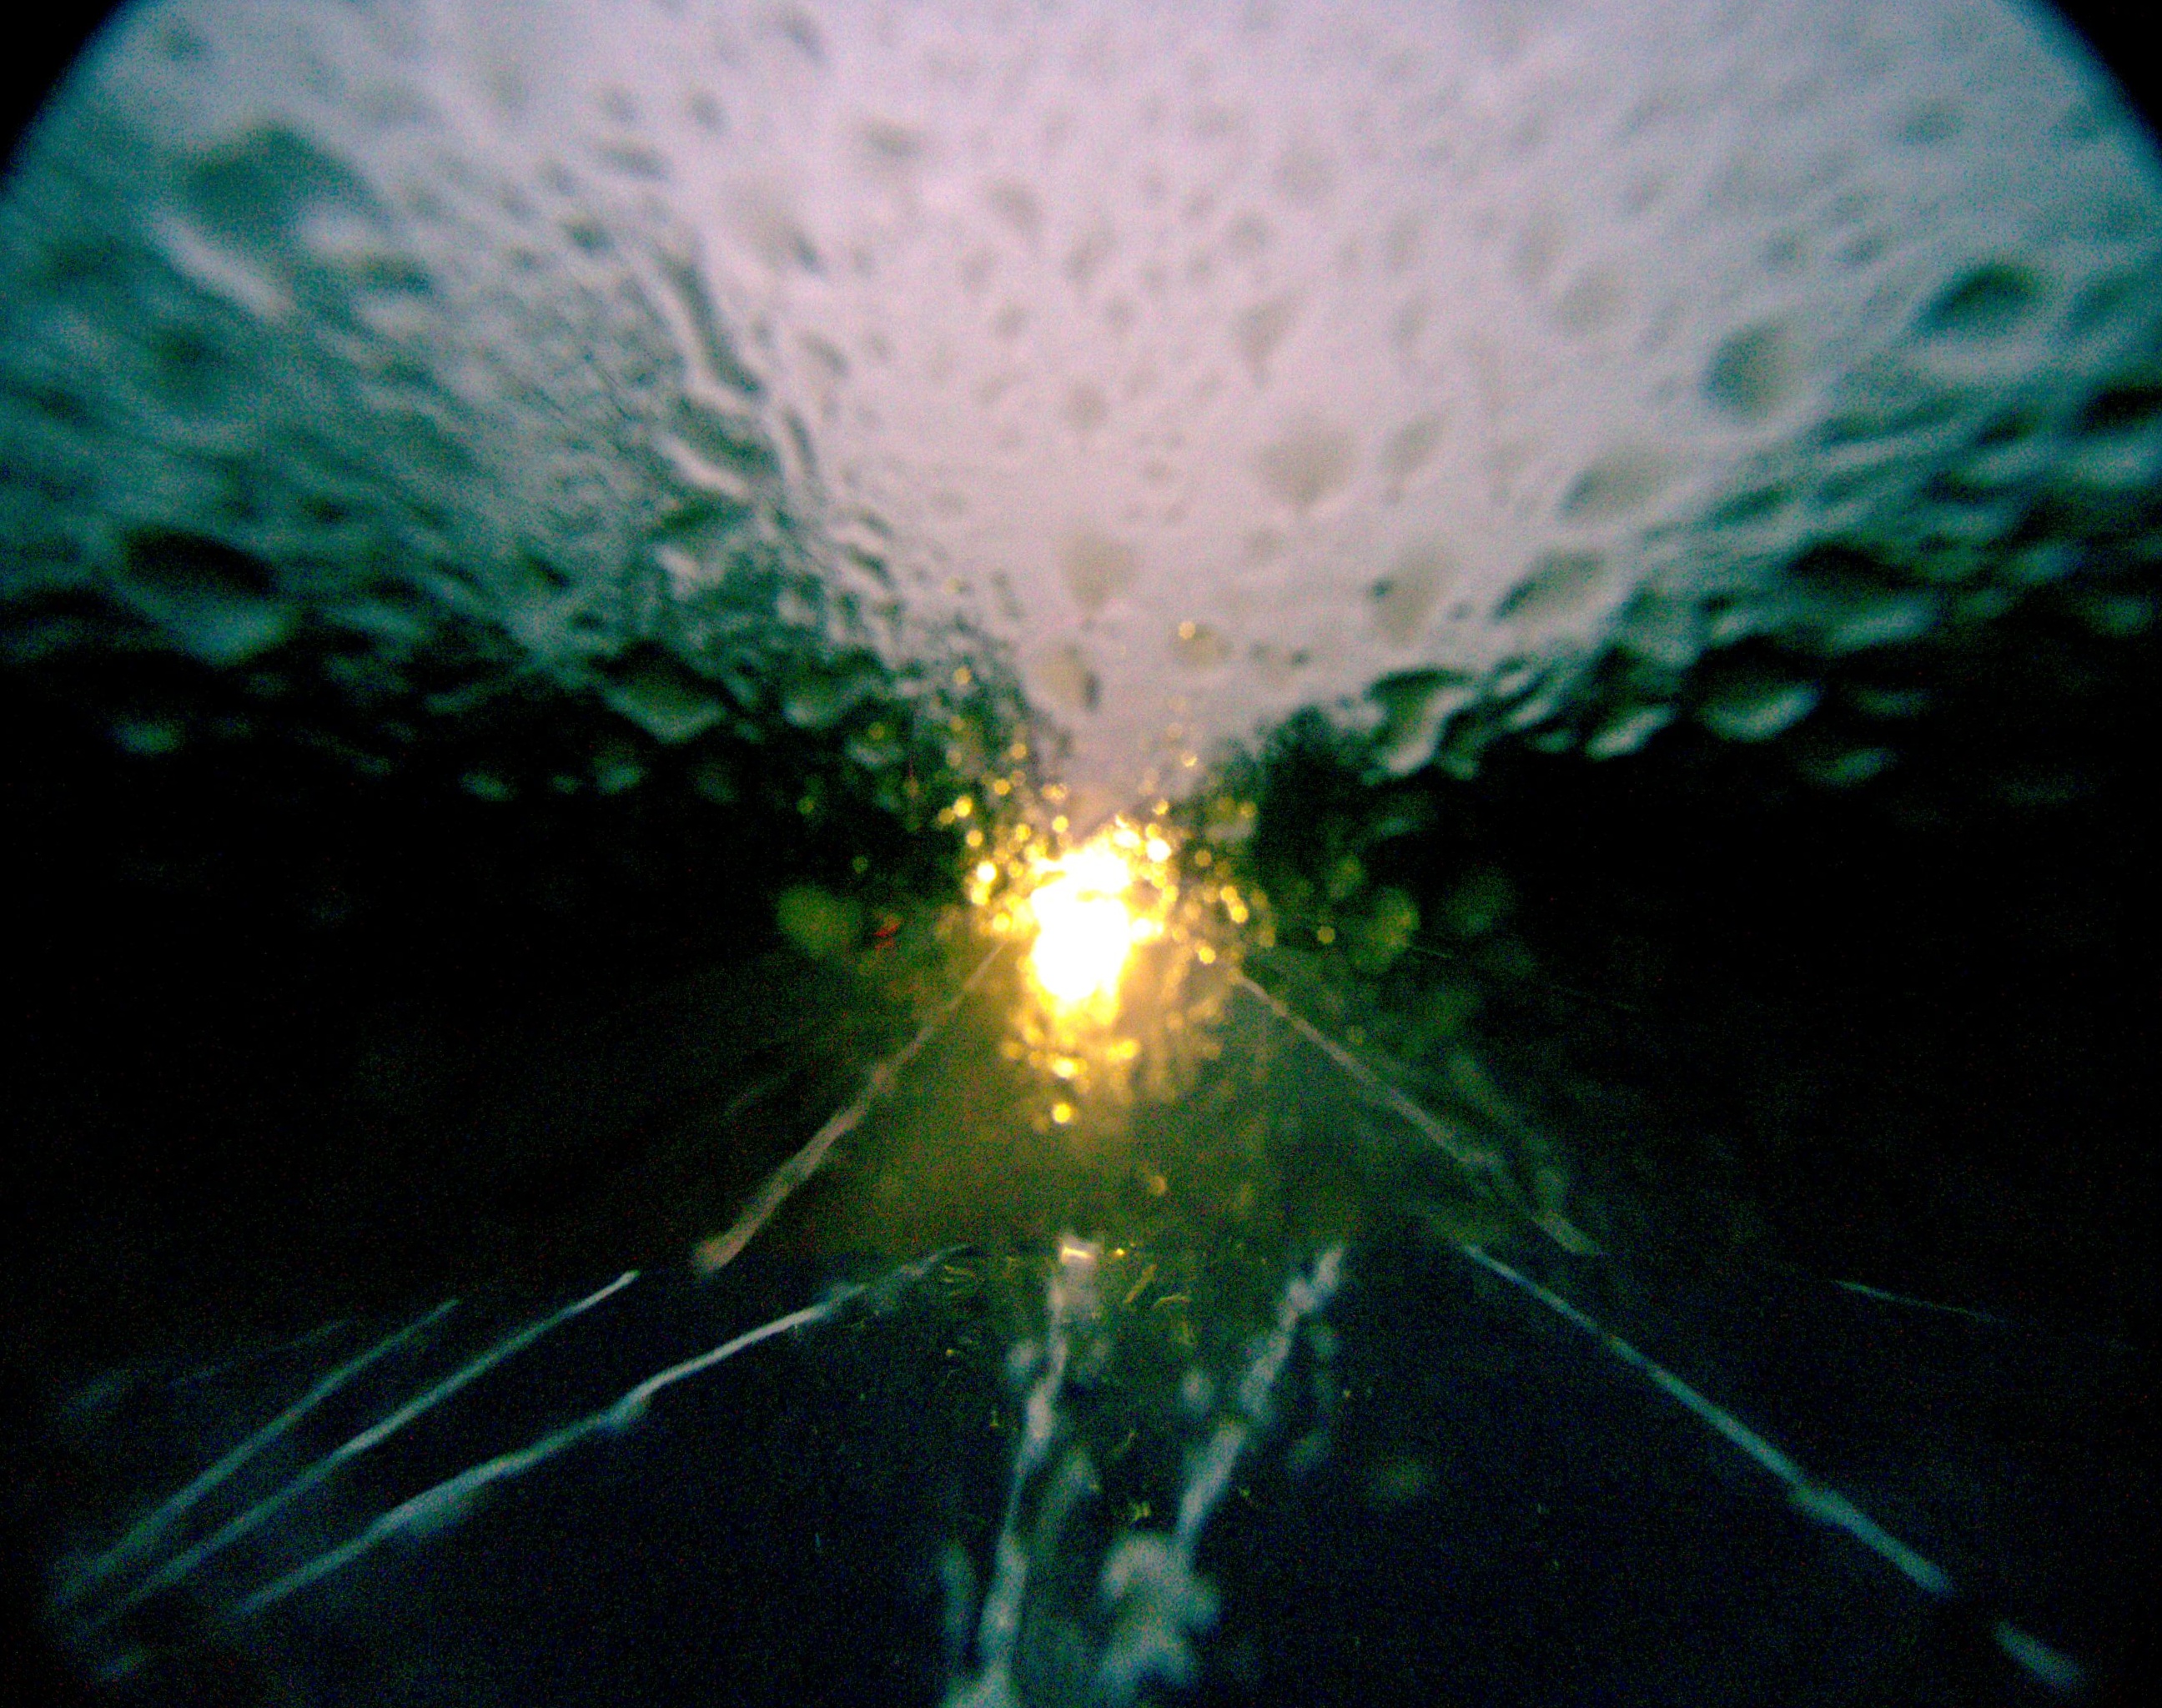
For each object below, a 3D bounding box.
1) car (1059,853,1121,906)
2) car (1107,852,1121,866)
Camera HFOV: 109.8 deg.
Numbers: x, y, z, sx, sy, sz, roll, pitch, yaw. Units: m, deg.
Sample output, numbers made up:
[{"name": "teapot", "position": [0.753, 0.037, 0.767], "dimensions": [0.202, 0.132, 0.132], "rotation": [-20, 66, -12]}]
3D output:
[{"name": "car", "position": [0.314, 0.847, 27.566], "dimensions": [1.998, 1.672, 4.000], "rotation": [-2, 0, 0]}, {"name": "car", "position": [4.428, 0.683, 102.211], "dimensions": [1.678, 1.727, 3.837], "rotation": [-2, 1, 1]}]
